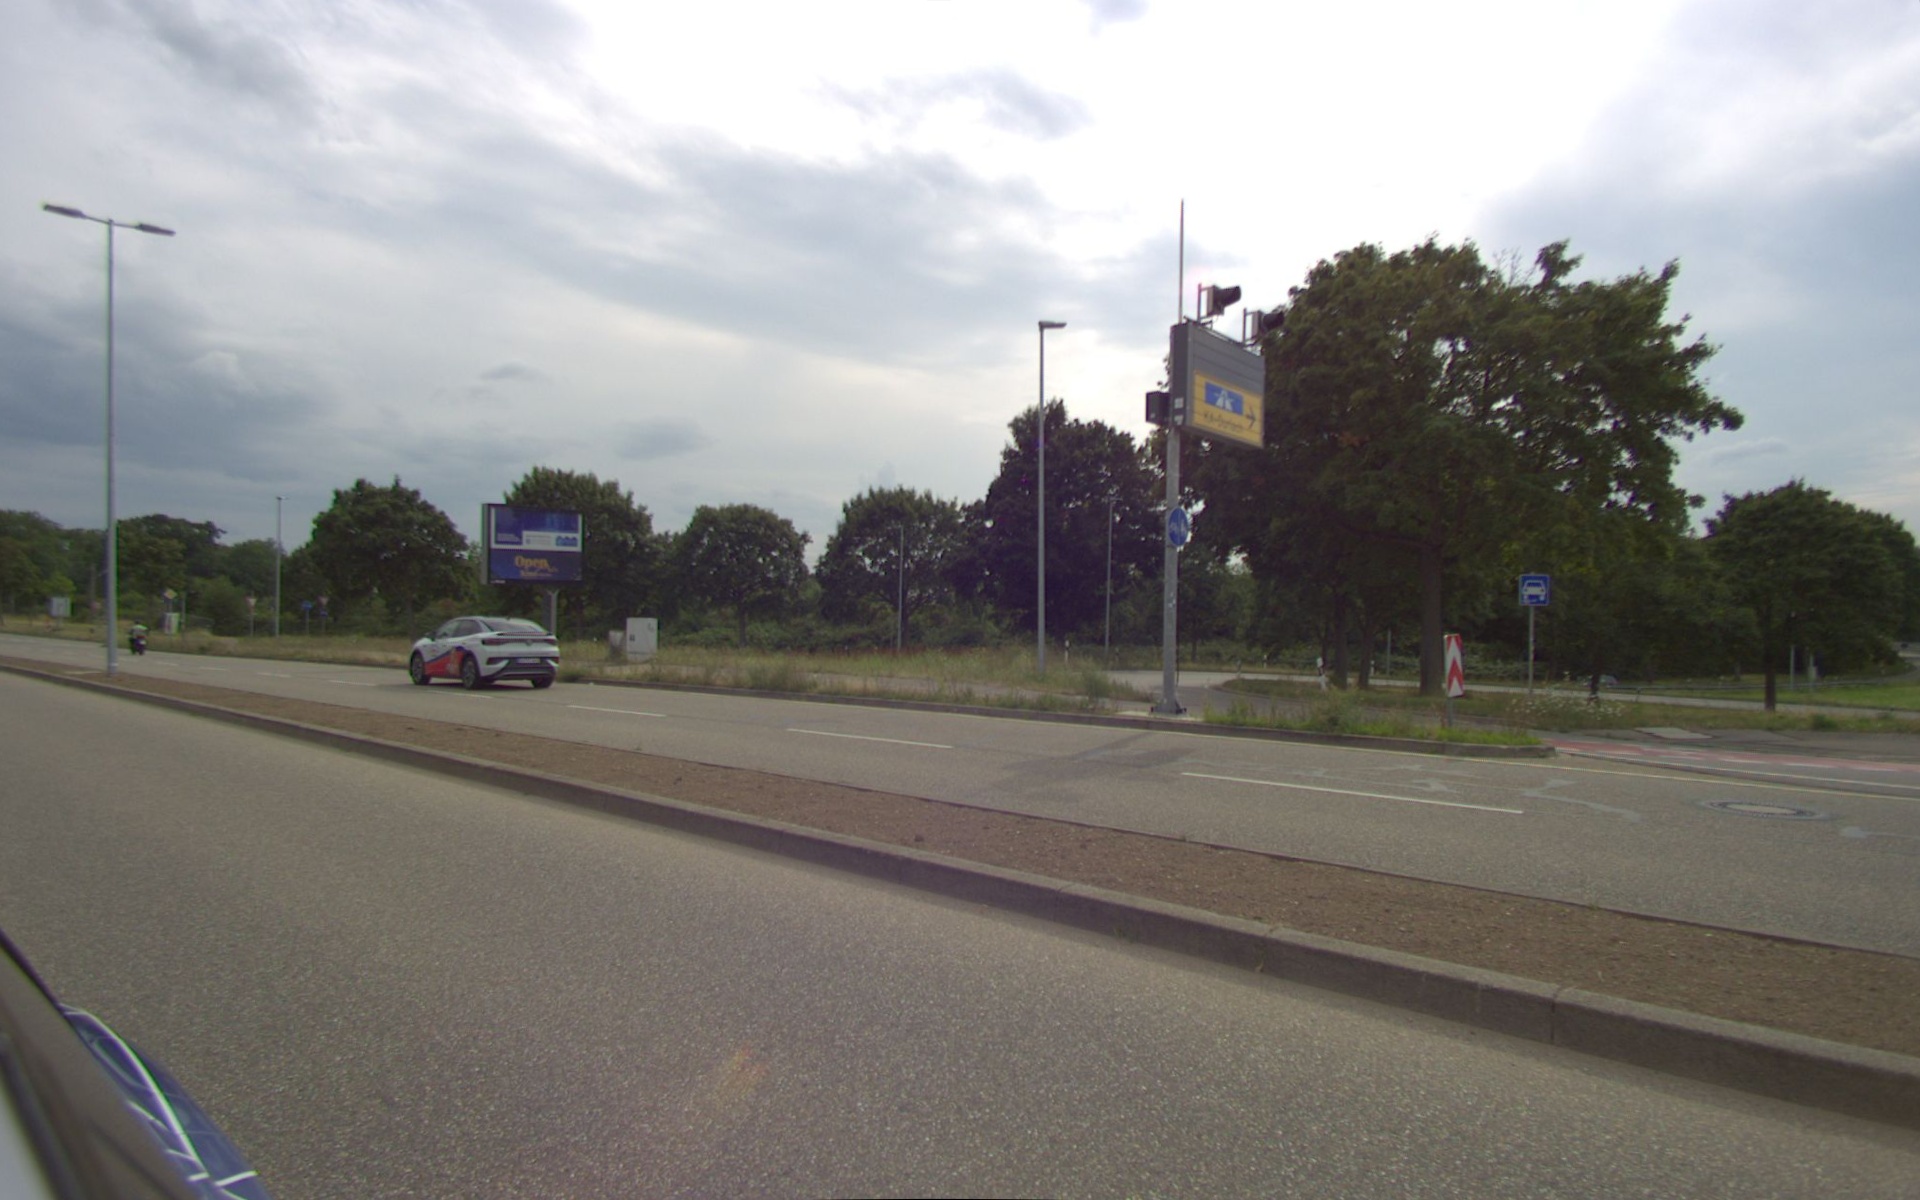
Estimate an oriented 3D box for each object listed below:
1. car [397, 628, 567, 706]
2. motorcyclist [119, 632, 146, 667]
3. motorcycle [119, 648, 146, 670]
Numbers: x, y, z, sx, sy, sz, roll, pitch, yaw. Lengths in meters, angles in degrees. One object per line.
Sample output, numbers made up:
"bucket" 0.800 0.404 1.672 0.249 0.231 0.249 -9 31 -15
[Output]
"car" -11.023 1.464 23.207 4.558 1.613 1.828 -2 -2 41
"motorcyclist" -37.822 2.263 46.271 0.895 1.600 0.762 -2 -3 40
"motorcycle" -37.892 2.681 46.331 2.218 0.974 0.517 -2 -2 40
